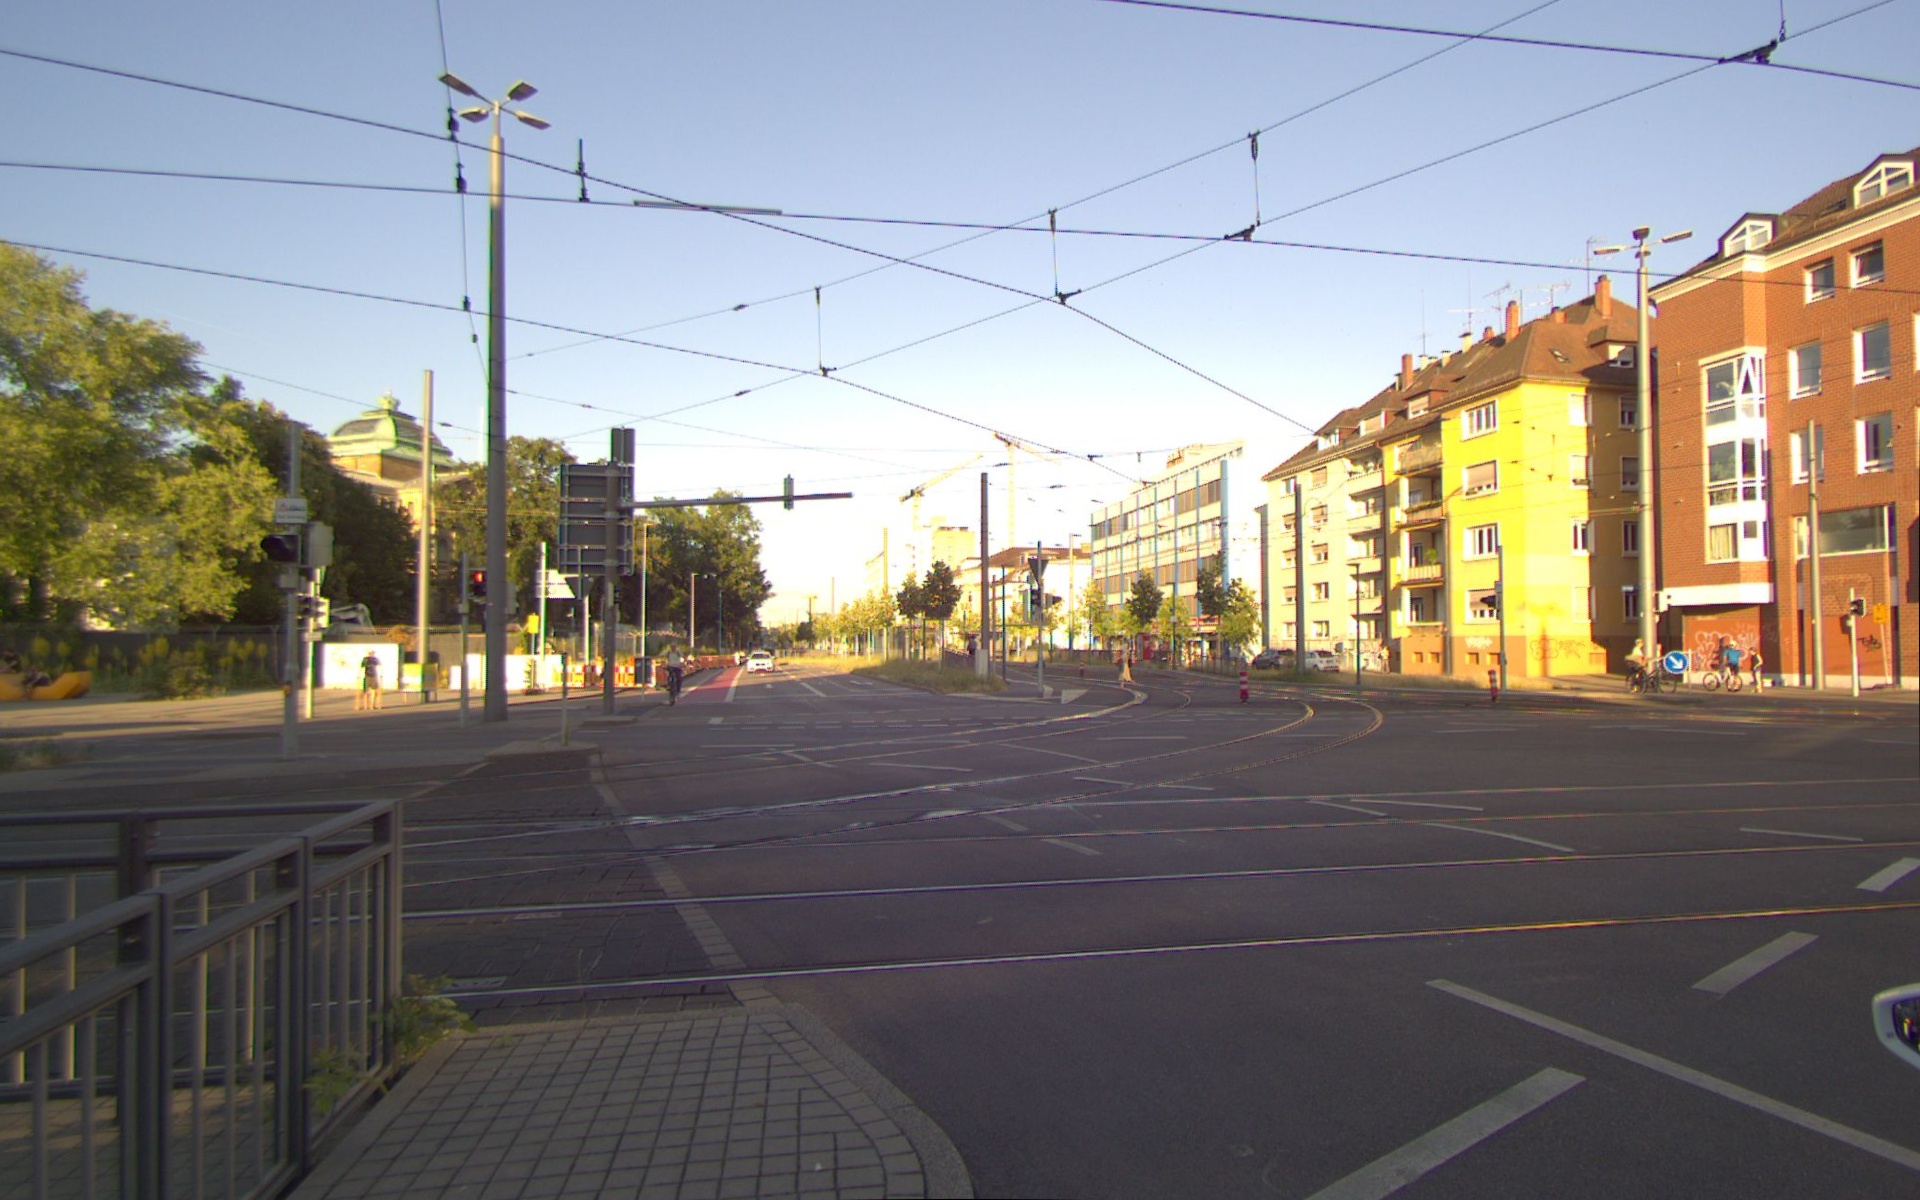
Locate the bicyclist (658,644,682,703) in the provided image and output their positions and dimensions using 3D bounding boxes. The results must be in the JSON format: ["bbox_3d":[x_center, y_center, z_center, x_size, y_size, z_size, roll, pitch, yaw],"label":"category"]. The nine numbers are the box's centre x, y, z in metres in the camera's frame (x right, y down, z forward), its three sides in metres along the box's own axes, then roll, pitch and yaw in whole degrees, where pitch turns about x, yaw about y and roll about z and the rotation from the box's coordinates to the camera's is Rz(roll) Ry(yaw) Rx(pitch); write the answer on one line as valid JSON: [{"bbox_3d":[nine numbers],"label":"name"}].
[{"bbox_3d":[-8.525,2.137,29.509,0.587,1.693,0.744,1,-2,-21],"label":"bicyclist"}]

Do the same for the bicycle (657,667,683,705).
[{"bbox_3d":[-8.531,2.495,29.510,0.587,1.036,1.838,1,-3,-21],"label":"bicycle"}]

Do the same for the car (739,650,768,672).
[{"bbox_3d":[-14.237,4.188,69.242,1.883,1.424,4.297,-1,-3,-11],"label":"car"}]

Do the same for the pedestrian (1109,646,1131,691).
[{"bbox_3d":[5.637,2.419,35.359,0.693,1.561,0.637,-1,-2,5],"label":"pedestrian"}]

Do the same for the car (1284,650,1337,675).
[{"bbox_3d":[23.163,4.142,66.583,1.709,1.439,3.534,0,0,-13],"label":"car"}]

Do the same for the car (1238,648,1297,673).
[{"bbox_3d":[21.886,4.287,71.678,2.083,1.727,4.339,1,-3,-13],"label":"car"}]

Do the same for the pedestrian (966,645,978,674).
[{"bbox_3d":[0.648,3.274,55.292,0.555,1.611,0.689,0,-2,-8],"label":"pedestrian"}]

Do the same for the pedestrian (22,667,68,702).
[{"bbox_3d":[-32.182,2.962,35.330,0.721,1.173,0.990,0,-3,-6],"label":"pedestrian"}]

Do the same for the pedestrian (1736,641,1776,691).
[{"bbox_3d":[29.430,2.424,37.138,0.699,1.817,0.869,1,-2,-19],"label":"pedestrian"}]

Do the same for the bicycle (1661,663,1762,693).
[{"bbox_3d":[28.243,2.910,37.835,0.917,1.030,3.053,1,-3,-17],"label":"bicycle"}]

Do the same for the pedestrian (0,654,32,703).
[{"bbox_3d":[-33.528,2.769,35.473,0.750,1.687,0.822,0,-2,-6],"label":"pedestrian"}]

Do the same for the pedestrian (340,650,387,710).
[{"bbox_3d":[-17.739,2.360,29.873,0.809,1.758,0.940,-2,-3,37],"label":"pedestrian"}]

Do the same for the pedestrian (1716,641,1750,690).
[{"bbox_3d":[29.147,2.457,37.863,0.802,1.801,0.637,1,-2,-18],"label":"pedestrian"}]

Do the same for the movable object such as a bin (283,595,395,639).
[{"bbox_3d":[-30.475,0.860,49.273,4.925,2.040,2.001,-1,-2,19],"label":"movable object such as a bin"}]

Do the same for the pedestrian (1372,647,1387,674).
[{"bbox_3d":[25.596,3.698,61.285,0.700,1.619,0.731,-2,-3,37],"label":"pedestrian"}]

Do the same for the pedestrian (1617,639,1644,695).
[{"bbox_3d":[20.831,2.076,31.203,0.412,1.730,0.515,0,-2,-11],"label":"pedestrian"}]
